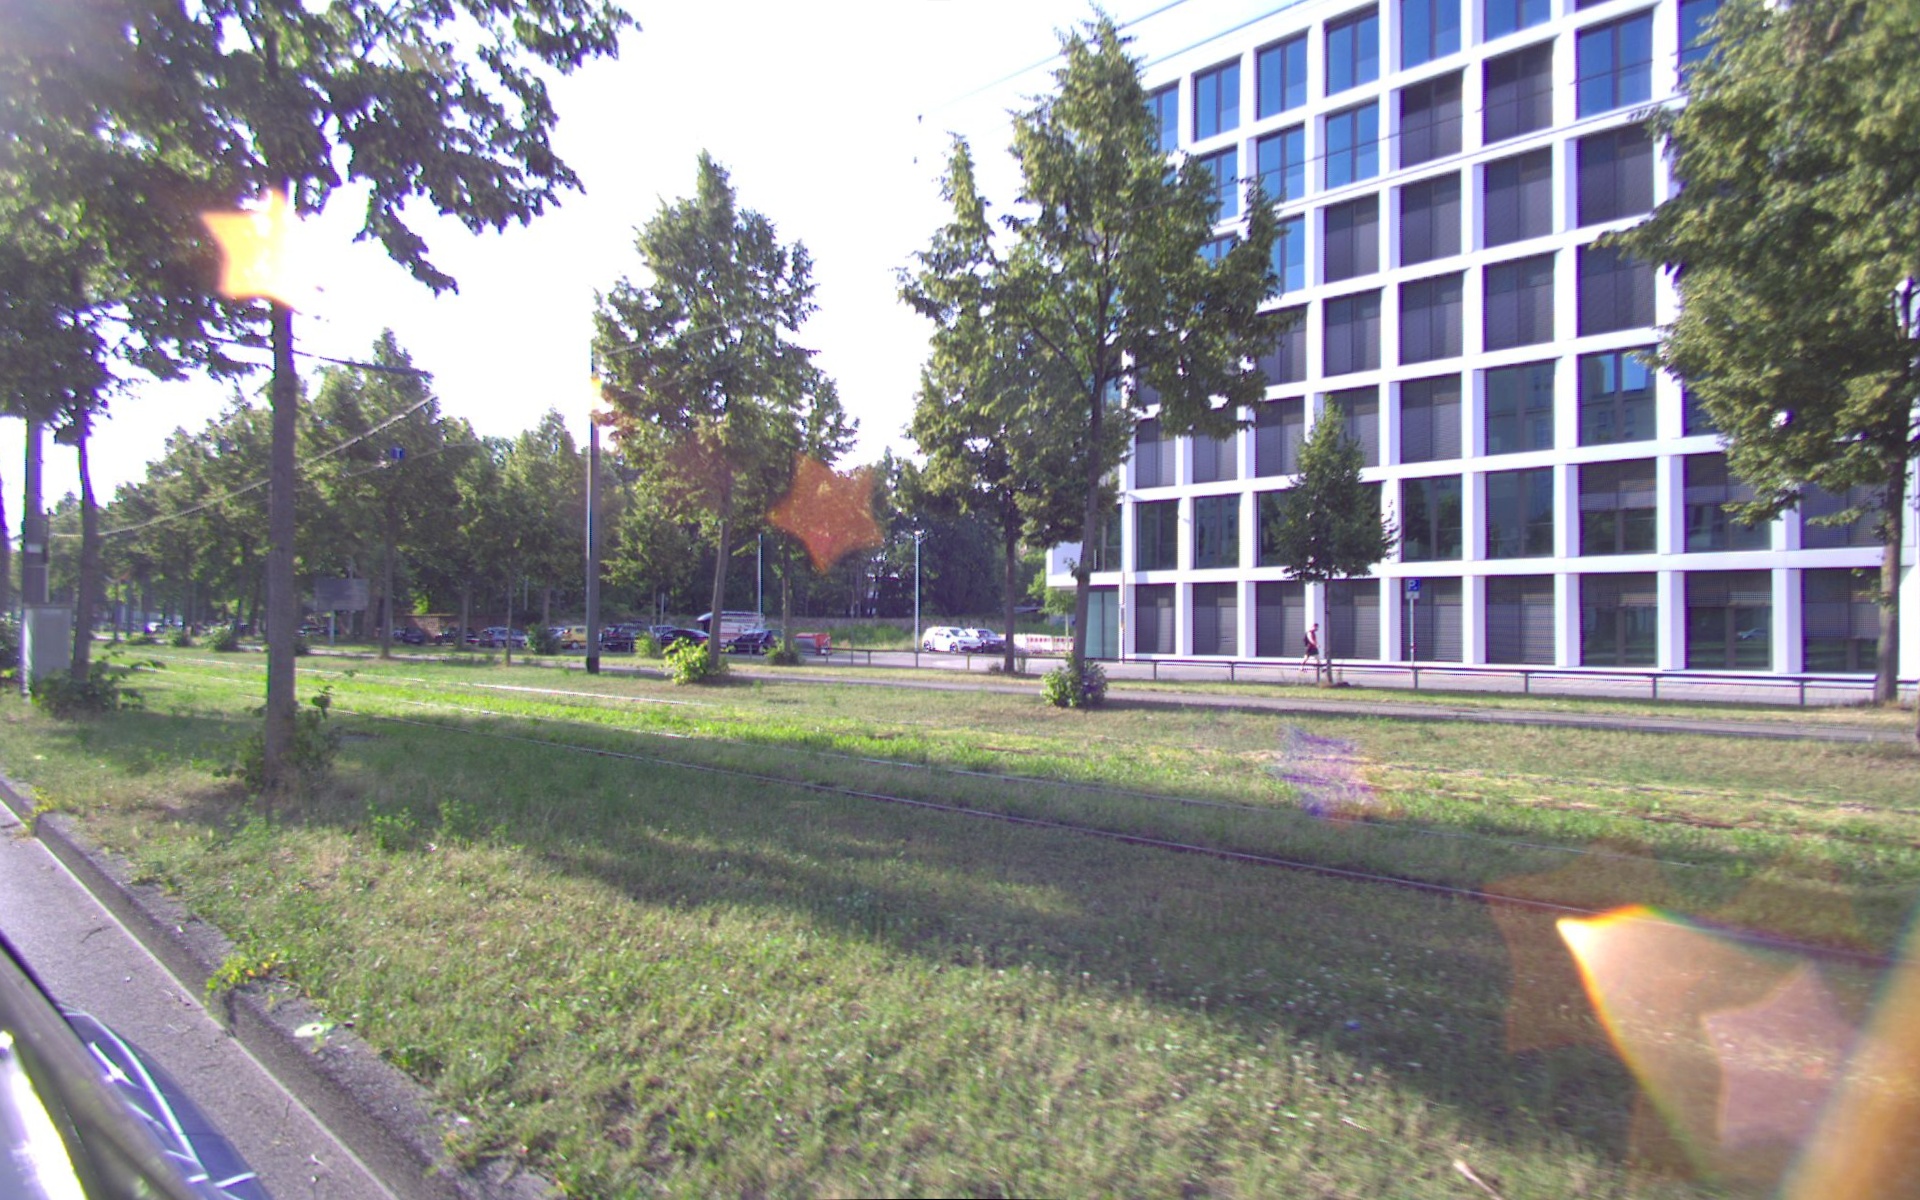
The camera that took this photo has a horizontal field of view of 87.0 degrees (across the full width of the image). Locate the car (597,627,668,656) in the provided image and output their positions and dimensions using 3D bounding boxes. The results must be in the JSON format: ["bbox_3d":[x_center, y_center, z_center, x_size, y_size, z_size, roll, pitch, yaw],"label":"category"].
[{"bbox_3d":[-20.770,2.624,64.273,1.757,1.655,3.950,-1,0,42],"label":"car"}]

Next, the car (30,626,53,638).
[{"bbox_3d":[-121.552,4.268,133.852,4.811,1.487,1.664,-1,-4,42],"label":"car"}]

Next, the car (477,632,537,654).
[{"bbox_3d":[-34.823,3.253,77.846,3.810,1.497,1.746,-1,0,-41],"label":"car"}]

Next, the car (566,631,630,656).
[{"bbox_3d":[-23.652,2.793,66.178,1.725,1.436,3.530,-1,0,42],"label":"car"}]

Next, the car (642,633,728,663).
[{"bbox_3d":[-14.208,2.487,52.330,3.961,1.437,1.768,-1,0,14],"label":"car"}]

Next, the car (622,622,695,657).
[{"bbox_3d":[-18.513,2.409,62.281,1.757,1.962,3.950,-1,0,42],"label":"car"}]

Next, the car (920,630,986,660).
[{"bbox_3d":[-0.448,2.640,60.515,1.824,1.608,4.008,-1,0,-38],"label":"car"}]

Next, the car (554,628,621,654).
[{"bbox_3d":[-25.570,2.806,69.553,1.856,1.572,3.943,-1,0,43],"label":"car"}]

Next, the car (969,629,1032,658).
[{"bbox_3d":[2.446,2.634,61.849,1.662,1.569,4.009,-1,0,-37],"label":"car"}]

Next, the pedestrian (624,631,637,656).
[{"bbox_3d":[-19.838,2.619,60.998,0.568,1.491,0.516,-1,0,40],"label":"pedestrian"}]

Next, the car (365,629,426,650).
[{"bbox_3d":[-42.435,2.977,76.128,3.999,1.446,1.679,-1,0,16],"label":"car"}]

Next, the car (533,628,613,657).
[{"bbox_3d":[-27.369,2.978,71.684,1.886,1.748,5.004,-1,0,43],"label":"car"}]

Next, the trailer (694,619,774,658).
[{"bbox_3d":[-13.193,2.205,59.261,1.758,2.069,4.315,-1,0,44],"label":"trailer"}]

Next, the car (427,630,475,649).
[{"bbox_3d":[-42.217,3.264,83.939,4.352,1.453,1.770,-1,0,36],"label":"car"}]

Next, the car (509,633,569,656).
[{"bbox_3d":[-30.170,3.188,72.557,1.810,1.439,3.607,-1,0,43],"label":"car"}]

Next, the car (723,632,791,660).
[{"bbox_3d":[-11.201,2.513,55.734,3.757,1.403,1.663,-1,0,38],"label":"car"}]

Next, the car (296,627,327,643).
[{"bbox_3d":[-71.043,3.794,110.822,4.474,1.624,1.811,-1,0,42],"label":"car"}]

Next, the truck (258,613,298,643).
[{"bbox_3d":[-85.990,3.503,127.595,2.855,3.542,7.950,-1,0,-44],"label":"truck"}]

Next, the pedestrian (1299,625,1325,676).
[{"bbox_3d":[12.455,1.774,35.827,0.691,1.741,0.561,-1,0,41],"label":"pedestrian"}]

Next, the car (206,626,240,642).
[{"bbox_3d":[-70.317,3.232,96.523,4.474,1.442,1.811,-1,0,42],"label":"car"}]

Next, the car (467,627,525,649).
[{"bbox_3d":[-36.483,2.964,79.690,3.810,1.497,1.746,-1,0,-41],"label":"car"}]
